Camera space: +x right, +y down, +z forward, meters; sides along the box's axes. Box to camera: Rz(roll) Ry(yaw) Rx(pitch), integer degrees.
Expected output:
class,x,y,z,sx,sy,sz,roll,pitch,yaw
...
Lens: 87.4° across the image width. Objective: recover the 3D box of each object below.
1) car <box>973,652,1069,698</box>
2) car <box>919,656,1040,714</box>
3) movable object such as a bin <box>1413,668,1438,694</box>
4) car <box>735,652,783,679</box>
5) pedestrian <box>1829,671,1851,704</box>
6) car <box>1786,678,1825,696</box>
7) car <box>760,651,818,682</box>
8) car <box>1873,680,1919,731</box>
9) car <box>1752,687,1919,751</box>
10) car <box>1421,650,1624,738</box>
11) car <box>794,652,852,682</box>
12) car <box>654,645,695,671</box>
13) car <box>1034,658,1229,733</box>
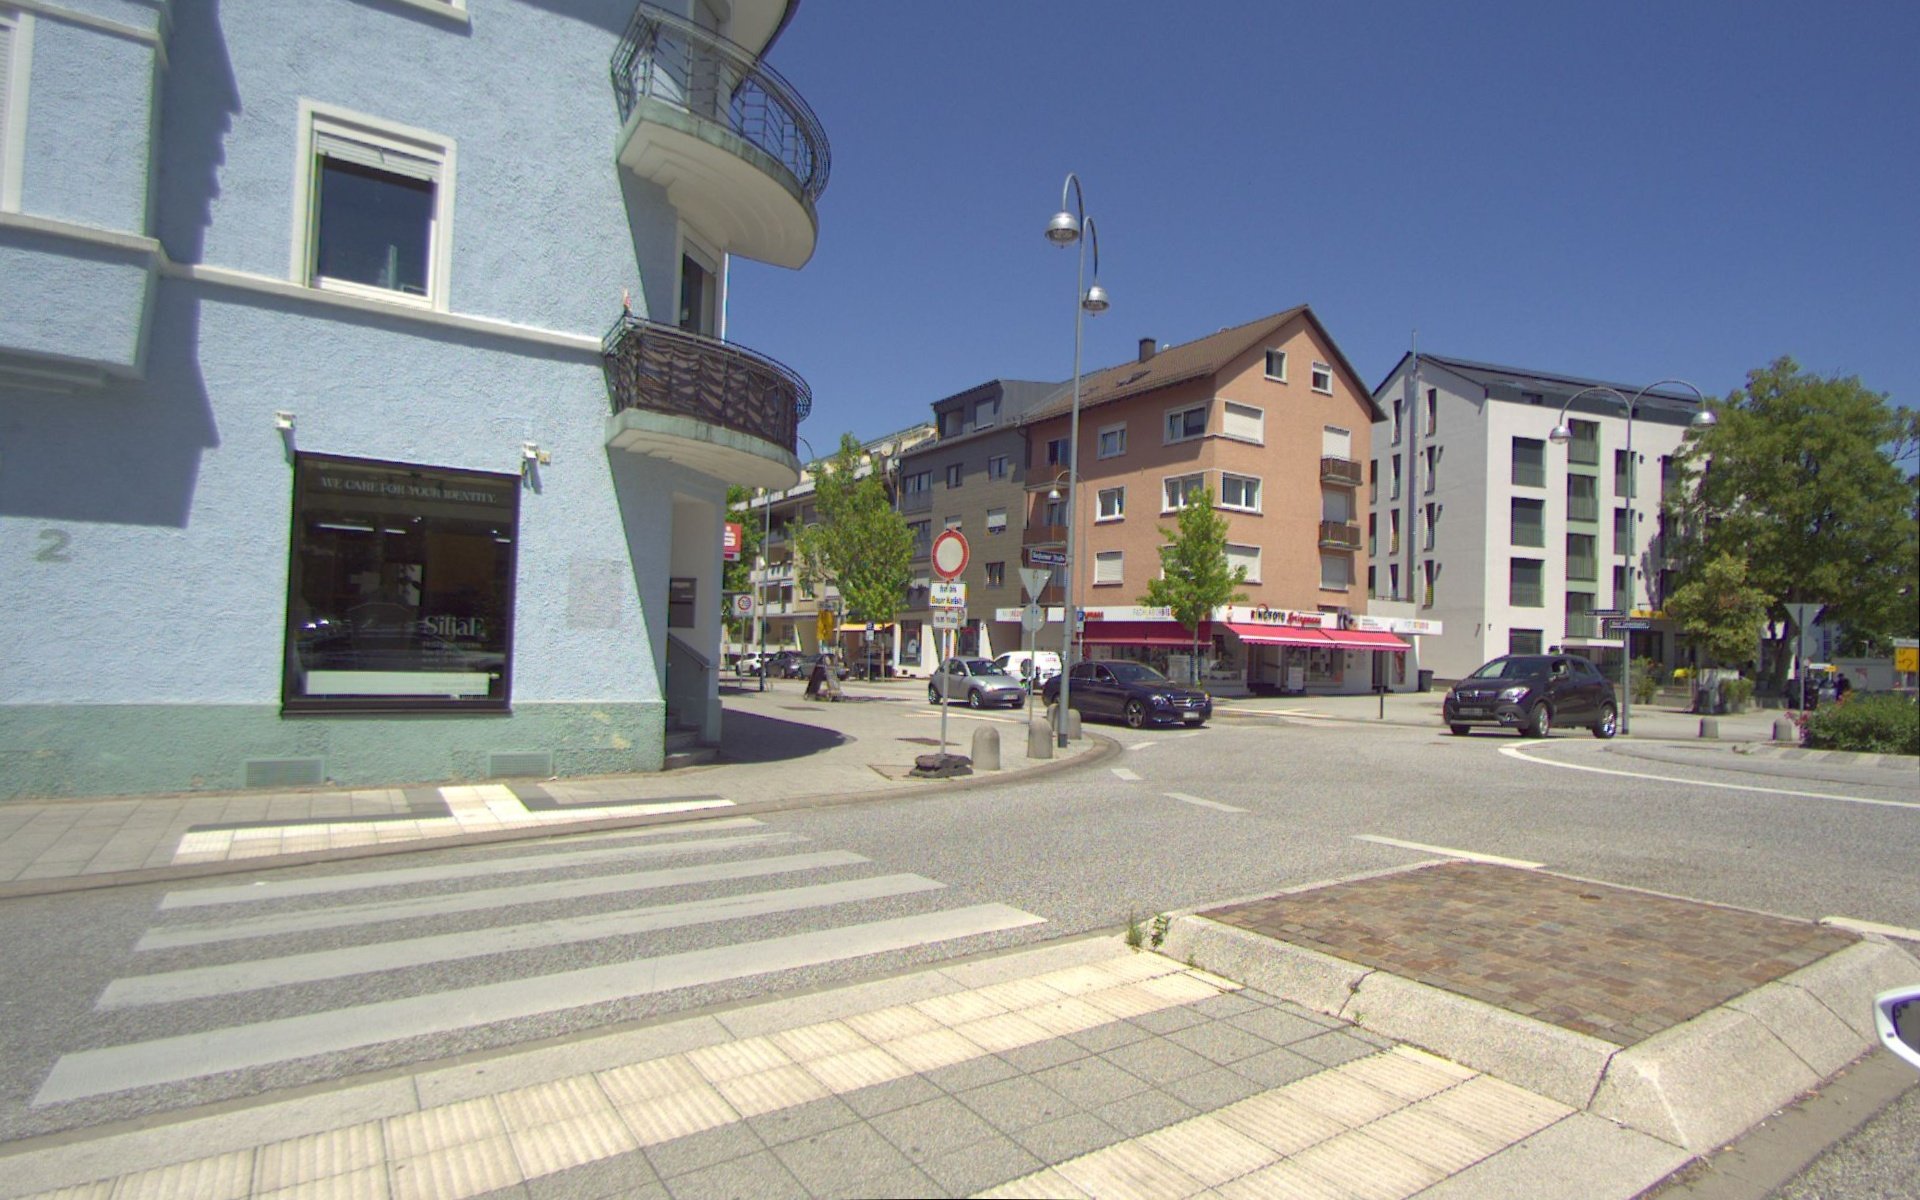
class,x,y,z,sx,sy,sz,roll,pitch,yaw
car,2.464,3.040,41.494,1.740,1.747,3.862,2,-3,-42
car,0.503,2.433,29.497,1.835,1.497,3.879,2,-3,-30
movable object such as a bin,21.615,3.763,46.654,0.748,1.170,0.771,2,0,-15
car,-12.754,4.123,63.538,1.708,1.604,4.191,2,-3,-31
pedestrian,40.643,4.040,46.387,0.547,1.504,0.530,3,-3,-19
car,71.744,7.377,85.268,1.516,1.396,3.998,0,-3,25
car,-10.066,3.856,58.926,1.750,1.728,4.665,2,-3,-32
car,33.934,3.715,35.514,3.965,1.611,1.782,4,-1,-38
car,21.504,2.811,23.994,4.218,1.399,1.927,2,-5,-16
car,11.323,1.859,20.150,4.127,1.582,1.981,3,-5,-36
car,-7.470,3.609,54.598,1.728,1.570,3.911,2,-4,-32
car,-22.441,4.520,78.844,1.977,1.822,4.531,2,-1,-30
car,3.894,2.156,23.650,1.978,1.497,4.669,2,-3,-31
